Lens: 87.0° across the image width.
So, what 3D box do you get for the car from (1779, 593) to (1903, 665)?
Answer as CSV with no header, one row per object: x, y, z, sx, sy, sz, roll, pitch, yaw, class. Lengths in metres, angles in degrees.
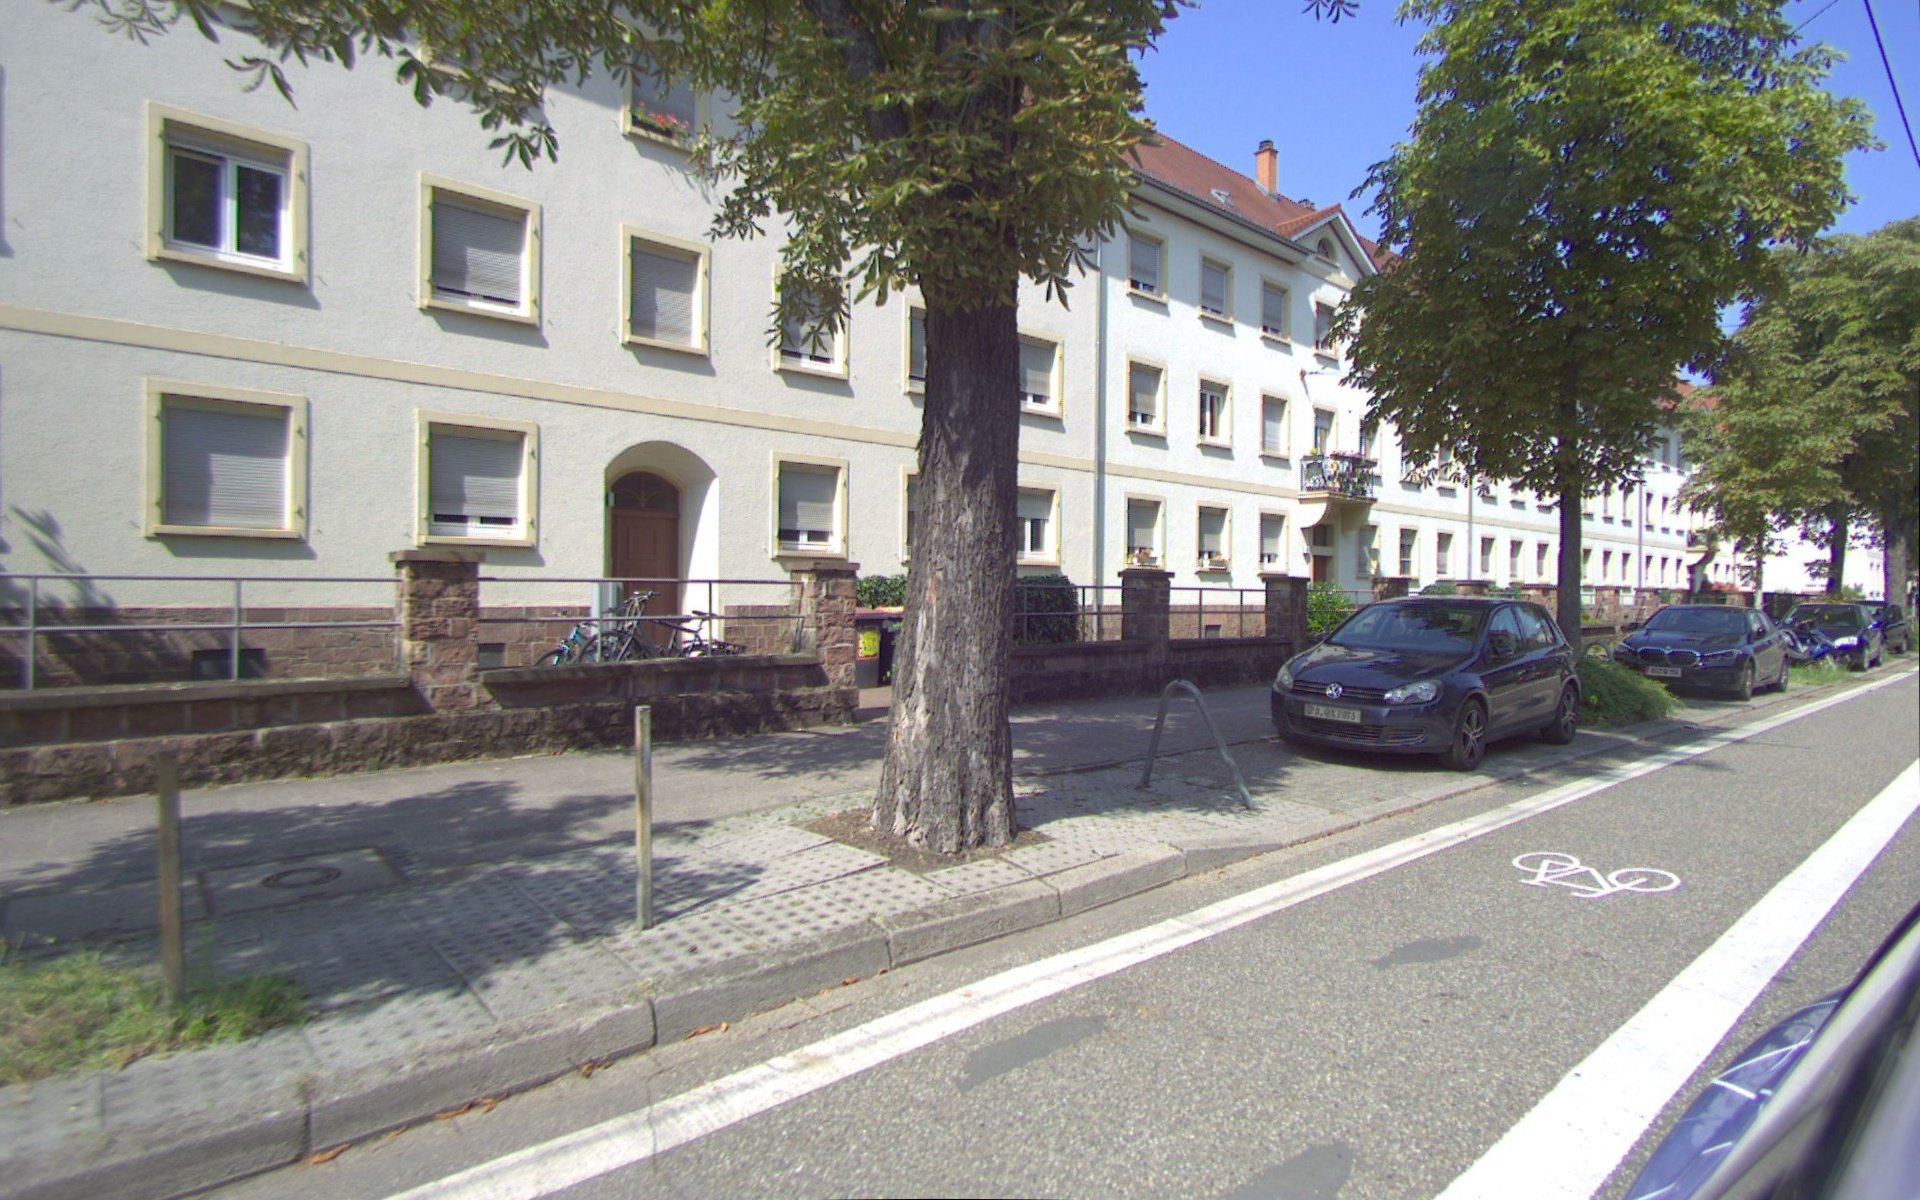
20.602,0.612,23.614,3.968,1.495,1.620,0,2,-41,car

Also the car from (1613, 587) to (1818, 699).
12.604,0.597,16.784,4.380,1.495,1.760,-1,5,-41,car

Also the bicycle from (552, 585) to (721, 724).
-3.156,0.496,9.960,1.552,1.273,0.402,0,1,-41,bicycle

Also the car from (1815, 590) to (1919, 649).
26.238,0.521,29.115,3.432,1.549,1.623,0,2,-35,car

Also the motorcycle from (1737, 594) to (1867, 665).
17.519,0.573,21.097,0.769,1.385,2.006,0,1,-43,motorcycle

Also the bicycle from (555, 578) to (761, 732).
-2.831,0.475,9.637,1.859,1.350,0.456,0,1,-41,bicycle

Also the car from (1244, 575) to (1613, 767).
4.771,0.533,9.994,4.311,1.496,1.758,0,1,-42,car
